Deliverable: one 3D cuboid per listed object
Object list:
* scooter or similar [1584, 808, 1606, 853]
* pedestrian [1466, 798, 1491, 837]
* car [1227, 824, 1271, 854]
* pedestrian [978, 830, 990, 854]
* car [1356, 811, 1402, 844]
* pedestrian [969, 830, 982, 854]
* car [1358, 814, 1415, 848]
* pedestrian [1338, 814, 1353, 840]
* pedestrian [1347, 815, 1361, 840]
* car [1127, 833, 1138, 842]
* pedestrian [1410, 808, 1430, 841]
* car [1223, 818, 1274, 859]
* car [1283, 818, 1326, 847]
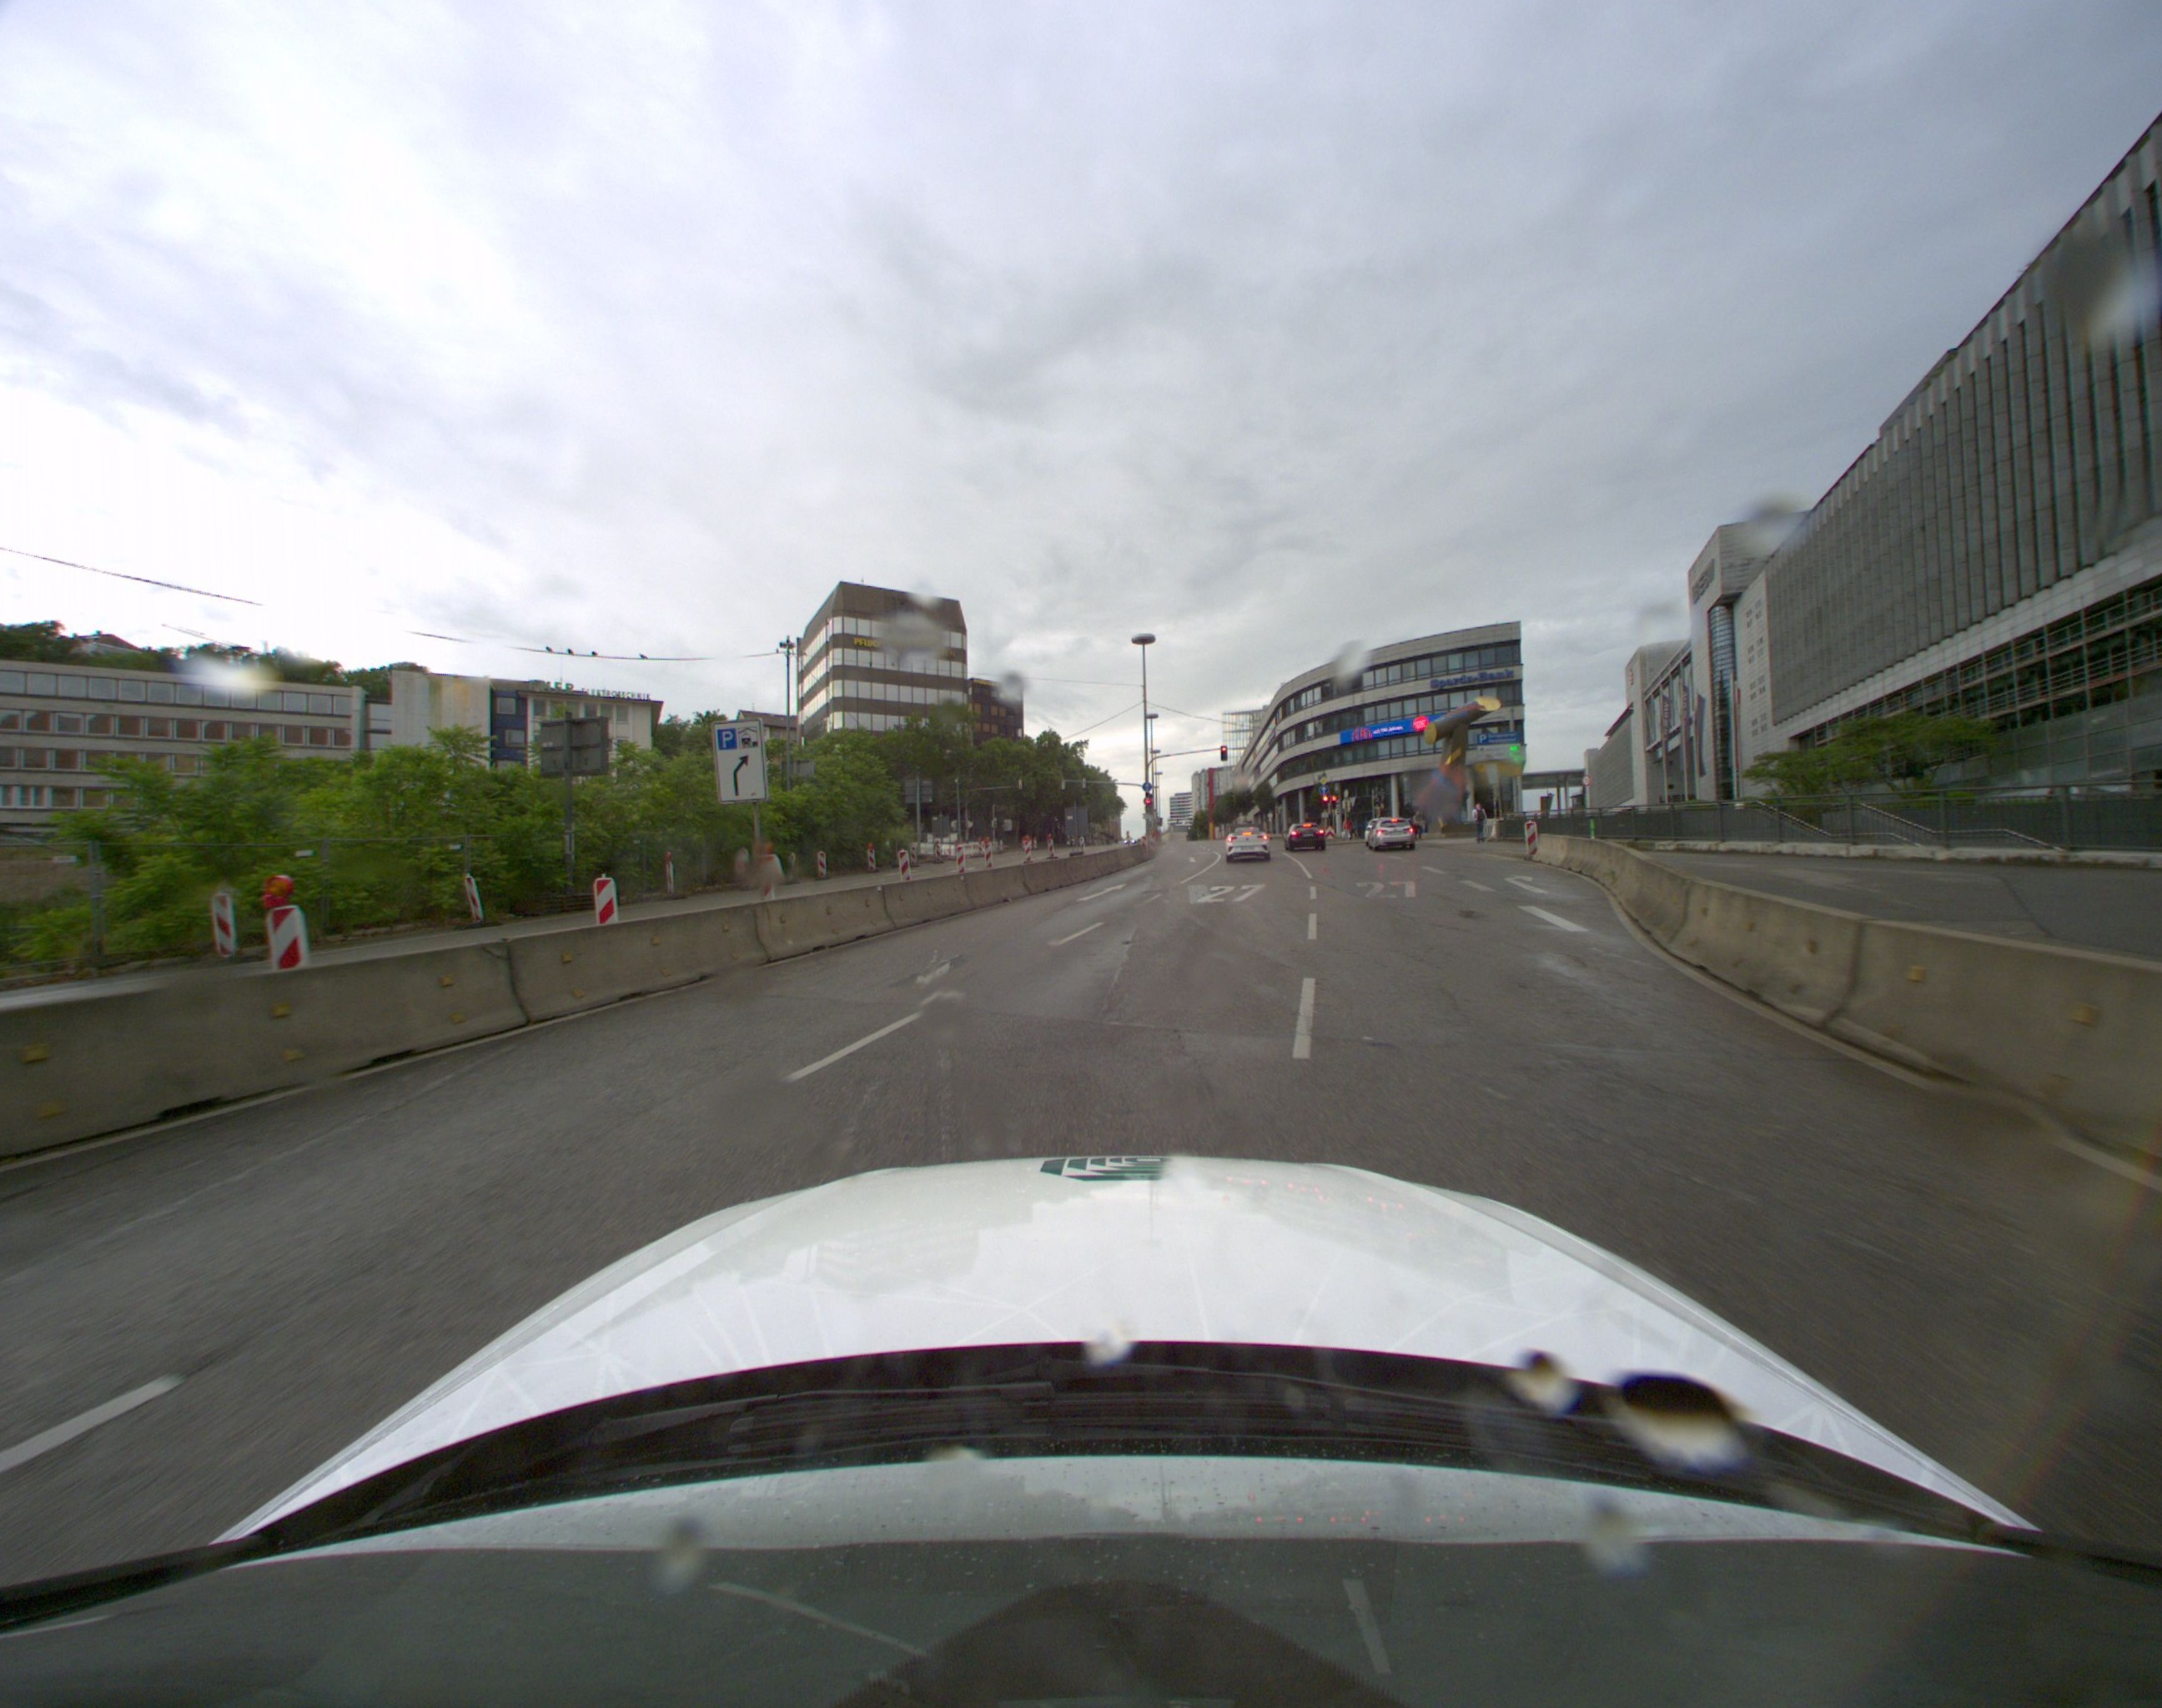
[{"bbox_3d":[13.597,-0.630,21.553,0.346,1.162,0.576,-2,0,22],"label":"scooter or similar"},{"bbox_3d":[18.170,-1.656,37.275,0.726,1.711,0.845,-2,-1,6],"label":"pedestrian"},{"bbox_3d":[8.803,-0.794,42.982,1.732,1.443,4.005,-2,1,4],"label":"car"},{"bbox_3d":[-7.634,-0.950,64.213,0.668,1.901,0.778,-2,-1,9],"label":"pedestrian"},{"bbox_3d":[16.140,-1.454,43.991,1.755,1.634,4.609,-2,2,27],"label":"car"},{"bbox_3d":[-8.361,-0.940,64.389,0.756,1.922,0.744,-2,-1,9],"label":"pedestrian"},{"bbox_3d":[14.062,-1.040,37.697,1.690,1.451,4.630,-2,1,11],"label":"car"},{"bbox_3d":[20.347,-2.046,62.536,0.832,1.904,0.866,-2,-1,33],"label":"pedestrian"},{"bbox_3d":[21.239,-2.094,63.413,0.832,1.904,0.737,-2,0,33],"label":"pedestrian"},{"bbox_3d":[9.460,-3.026,150.110,1.752,1.460,4.368,-3,2,6],"label":"car"},{"bbox_3d":[22.024,-1.929,52.879,0.854,2.098,0.899,-1,1,-16],"label":"pedestrian"},{"bbox_3d":[7.070,-0.695,34.384,1.951,1.548,4.233,-2,2,12],"label":"car"},{"bbox_3d":[11.497,-1.085,42.111,1.744,1.407,4.240,0,1,10],"label":"car"}]
